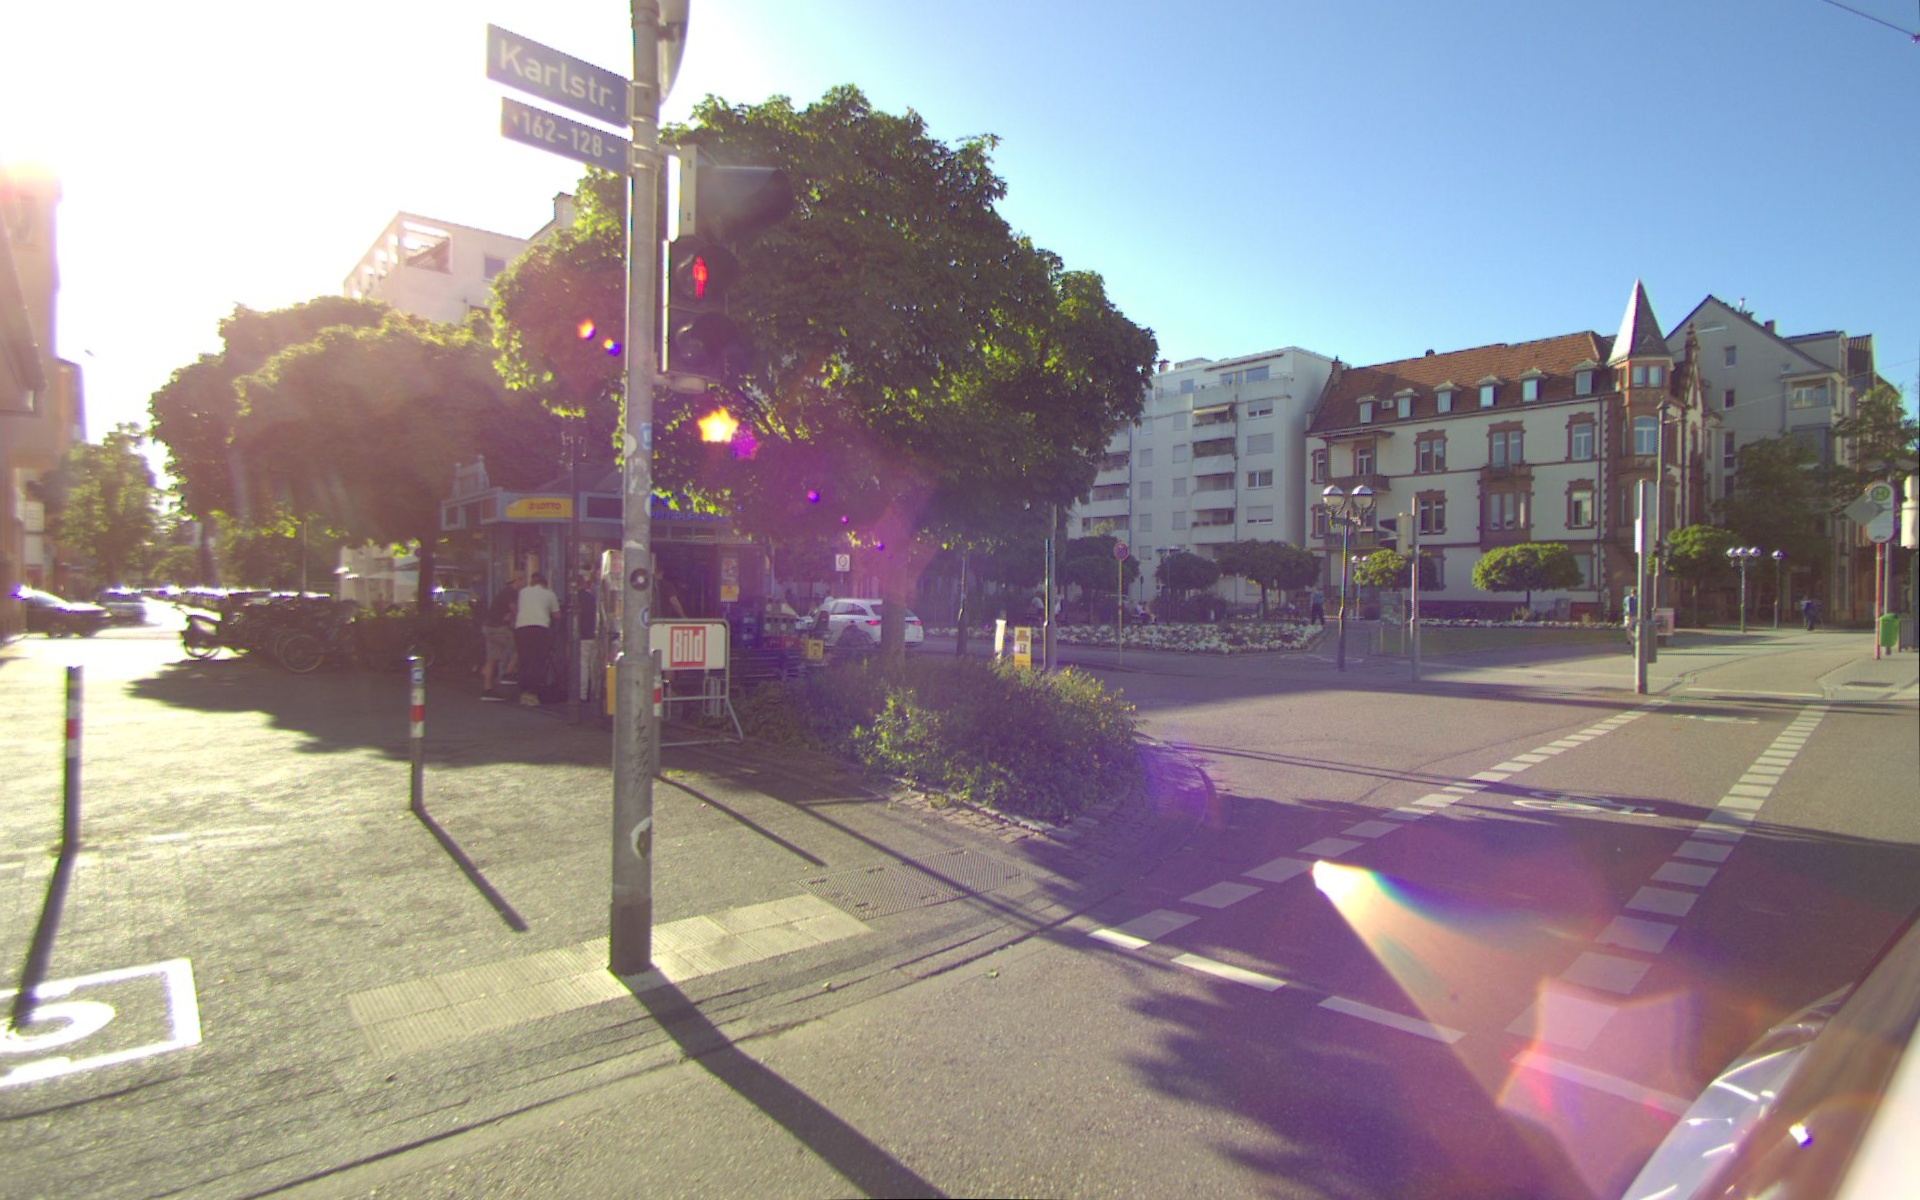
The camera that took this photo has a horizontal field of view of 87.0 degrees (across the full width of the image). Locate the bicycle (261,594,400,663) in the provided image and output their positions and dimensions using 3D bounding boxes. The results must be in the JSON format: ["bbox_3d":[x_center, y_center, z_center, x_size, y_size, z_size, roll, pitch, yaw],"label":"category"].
[{"bbox_3d":[-11.252,0.508,18.135,1.997,1.166,0.661,2,-1,-41],"label":"bicycle"}]

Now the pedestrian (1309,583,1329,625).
[{"bbox_3d":[13.888,0.147,39.144,0.640,1.622,0.699,0,0,14],"label":"pedestrian"}]

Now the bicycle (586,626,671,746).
[{"bbox_3d":[-3.179,0.770,9.628,0.352,0.997,1.669,0,0,-33],"label":"bicycle"}]

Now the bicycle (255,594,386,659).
[{"bbox_3d":[-12.160,0.508,19.280,1.997,1.166,0.661,2,-1,-41],"label":"bicycle"}]

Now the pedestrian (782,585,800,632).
[{"bbox_3d":[-5.871,0.285,35.074,0.476,1.603,0.408,0,0,-40],"label":"pedestrian"}]

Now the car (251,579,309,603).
[{"bbox_3d":[-58.739,-0.783,87.439,3.934,2.039,1.995,0,0,-44],"label":"car"}]

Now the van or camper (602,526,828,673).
[{"bbox_3d":[-5.775,-0.038,22.961,2.180,2.849,6.925,0,0,-40],"label":"van or camper"}]

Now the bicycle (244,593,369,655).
[{"bbox_3d":[-12.870,0.439,19.968,1.998,1.165,0.661,0,0,-41],"label":"bicycle"}]

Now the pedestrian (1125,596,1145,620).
[{"bbox_3d":[8.603,0.376,49.798,0.765,1.165,0.628,0,0,41],"label":"pedestrian"}]

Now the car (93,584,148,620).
[{"bbox_3d":[-38.723,0.048,46.639,1.784,1.571,3.992,0,1,-42],"label":"car"}]

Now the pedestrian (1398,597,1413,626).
[{"bbox_3d":[17.392,0.446,39.487,0.445,1.096,0.449,0,0,9],"label":"pedestrian"}]

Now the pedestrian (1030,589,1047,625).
[{"bbox_3d":[3.447,0.316,44.548,0.558,1.563,0.547,0,0,39],"label":"pedestrian"}]

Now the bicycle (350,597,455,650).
[{"bbox_3d":[-12.789,0.558,23.245,1.997,1.166,0.661,2,-1,-41],"label":"bicycle"}]

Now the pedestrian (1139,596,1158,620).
[{"bbox_3d":[9.369,0.405,50.209,0.714,1.165,0.628,0,0,41],"label":"pedestrian"}]

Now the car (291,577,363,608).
[{"bbox_3d":[-43.329,-0.522,69.312,3.930,2.039,1.997,0,0,-41],"label":"car"}]

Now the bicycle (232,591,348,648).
[{"bbox_3d":[-14.457,0.432,21.863,1.997,1.166,0.661,2,-1,-41],"label":"bicycle"}]

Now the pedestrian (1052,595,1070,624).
[{"bbox_3d":[4.541,0.437,45.478,0.558,1.290,0.691,0,0,39],"label":"pedestrian"}]

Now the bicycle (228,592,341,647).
[{"bbox_3d":[-14.960,0.435,22.441,1.997,1.166,0.661,2,-1,-41],"label":"bicycle"}]

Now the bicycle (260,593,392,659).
[{"bbox_3d":[-11.695,0.457,18.714,1.998,1.165,0.661,0,0,-41],"label":"bicycle"}]

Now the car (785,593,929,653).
[{"bbox_3d":[-2.870,0.552,27.286,1.775,1.481,4.550,0,0,-37],"label":"car"}]

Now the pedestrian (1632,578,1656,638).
[{"bbox_3d":[22.919,0.257,33.935,0.645,1.980,0.577,0,0,33],"label":"pedestrian"}]

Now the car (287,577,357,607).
[{"bbox_3d":[-44.861,-0.553,71.219,3.930,2.039,1.997,0,0,-41],"label":"car"}]

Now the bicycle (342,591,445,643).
[{"bbox_3d":[-13.290,0.413,23.776,1.997,1.166,0.661,2,-1,-41],"label":"bicycle"}]

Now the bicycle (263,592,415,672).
[{"bbox_3d":[-10.099,0.520,16.499,1.997,1.234,0.661,2,-1,-41],"label":"bicycle"}]

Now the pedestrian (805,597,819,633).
[{"bbox_3d":[-5.151,0.515,35.234,0.414,1.216,0.309,0,0,-41],"label":"pedestrian"}]

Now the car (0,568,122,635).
[{"bbox_3d":[-28.922,0.034,31.842,3.930,2.039,1.601,0,0,-41],"label":"car"}]

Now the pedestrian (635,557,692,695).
[{"bbox_3d":[-3.994,0.341,13.656,0.545,1.811,0.539,0,0,15],"label":"pedestrian"}]

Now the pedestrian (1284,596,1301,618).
[{"bbox_3d":[19.628,0.414,59.730,0.668,1.308,0.709,0,0,-43],"label":"pedestrian"}]

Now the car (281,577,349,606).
[{"bbox_3d":[-46.595,-0.585,73.160,3.930,2.039,1.997,0,0,-41],"label":"car"}]

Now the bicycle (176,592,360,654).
[{"bbox_3d":[-13.711,0.421,20.155,2.969,1.165,0.671,0,0,-41],"label":"bicycle"}]

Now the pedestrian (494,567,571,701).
[{"bbox_3d":[-5.365,0.409,12.704,0.731,1.623,0.615,0,0,-41],"label":"pedestrian"}]

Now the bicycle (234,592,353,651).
[{"bbox_3d":[-13.977,0.461,21.262,1.997,1.166,0.661,2,-1,-41],"label":"bicycle"}]

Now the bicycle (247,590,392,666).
[{"bbox_3d":[-10.952,0.485,17.352,1.997,1.234,0.661,2,-1,-41],"label":"bicycle"}]

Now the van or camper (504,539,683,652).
[{"bbox_3d":[-10.725,-0.143,29.141,2.869,2.849,6.929,0,0,-38],"label":"van or camper"}]

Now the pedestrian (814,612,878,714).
[{"bbox_3d":[-1.451,0.774,12.841,0.540,1.228,0.735,0,0,-34],"label":"pedestrian"}]

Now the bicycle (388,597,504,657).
[{"bbox_3d":[-10.549,0.558,20.804,1.997,1.166,0.661,2,-1,-41],"label":"bicycle"}]

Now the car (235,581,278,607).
[{"bbox_3d":[-44.182,-0.399,63.500,1.783,1.571,3.993,0,1,-41],"label":"car"}]

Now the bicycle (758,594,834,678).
[{"bbox_3d":[-3.012,0.621,18.413,0.544,1.441,2.074,0,0,-35],"label":"bicycle"}]

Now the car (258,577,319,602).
[{"bbox_3d":[-56.071,-0.857,84.542,3.934,2.039,1.995,0,0,-44],"label":"car"}]

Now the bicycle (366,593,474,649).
[{"bbox_3d":[-11.823,0.443,22.187,1.998,1.165,0.661,0,0,-41],"label":"bicycle"}]

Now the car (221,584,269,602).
[{"bbox_3d":[-76.017,-0.712,107.649,3.934,1.872,1.995,0,1,-44],"label":"car"}]

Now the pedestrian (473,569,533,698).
[{"bbox_3d":[-5.937,0.415,13.150,0.581,1.623,0.552,0,0,-41],"label":"pedestrian"}]
